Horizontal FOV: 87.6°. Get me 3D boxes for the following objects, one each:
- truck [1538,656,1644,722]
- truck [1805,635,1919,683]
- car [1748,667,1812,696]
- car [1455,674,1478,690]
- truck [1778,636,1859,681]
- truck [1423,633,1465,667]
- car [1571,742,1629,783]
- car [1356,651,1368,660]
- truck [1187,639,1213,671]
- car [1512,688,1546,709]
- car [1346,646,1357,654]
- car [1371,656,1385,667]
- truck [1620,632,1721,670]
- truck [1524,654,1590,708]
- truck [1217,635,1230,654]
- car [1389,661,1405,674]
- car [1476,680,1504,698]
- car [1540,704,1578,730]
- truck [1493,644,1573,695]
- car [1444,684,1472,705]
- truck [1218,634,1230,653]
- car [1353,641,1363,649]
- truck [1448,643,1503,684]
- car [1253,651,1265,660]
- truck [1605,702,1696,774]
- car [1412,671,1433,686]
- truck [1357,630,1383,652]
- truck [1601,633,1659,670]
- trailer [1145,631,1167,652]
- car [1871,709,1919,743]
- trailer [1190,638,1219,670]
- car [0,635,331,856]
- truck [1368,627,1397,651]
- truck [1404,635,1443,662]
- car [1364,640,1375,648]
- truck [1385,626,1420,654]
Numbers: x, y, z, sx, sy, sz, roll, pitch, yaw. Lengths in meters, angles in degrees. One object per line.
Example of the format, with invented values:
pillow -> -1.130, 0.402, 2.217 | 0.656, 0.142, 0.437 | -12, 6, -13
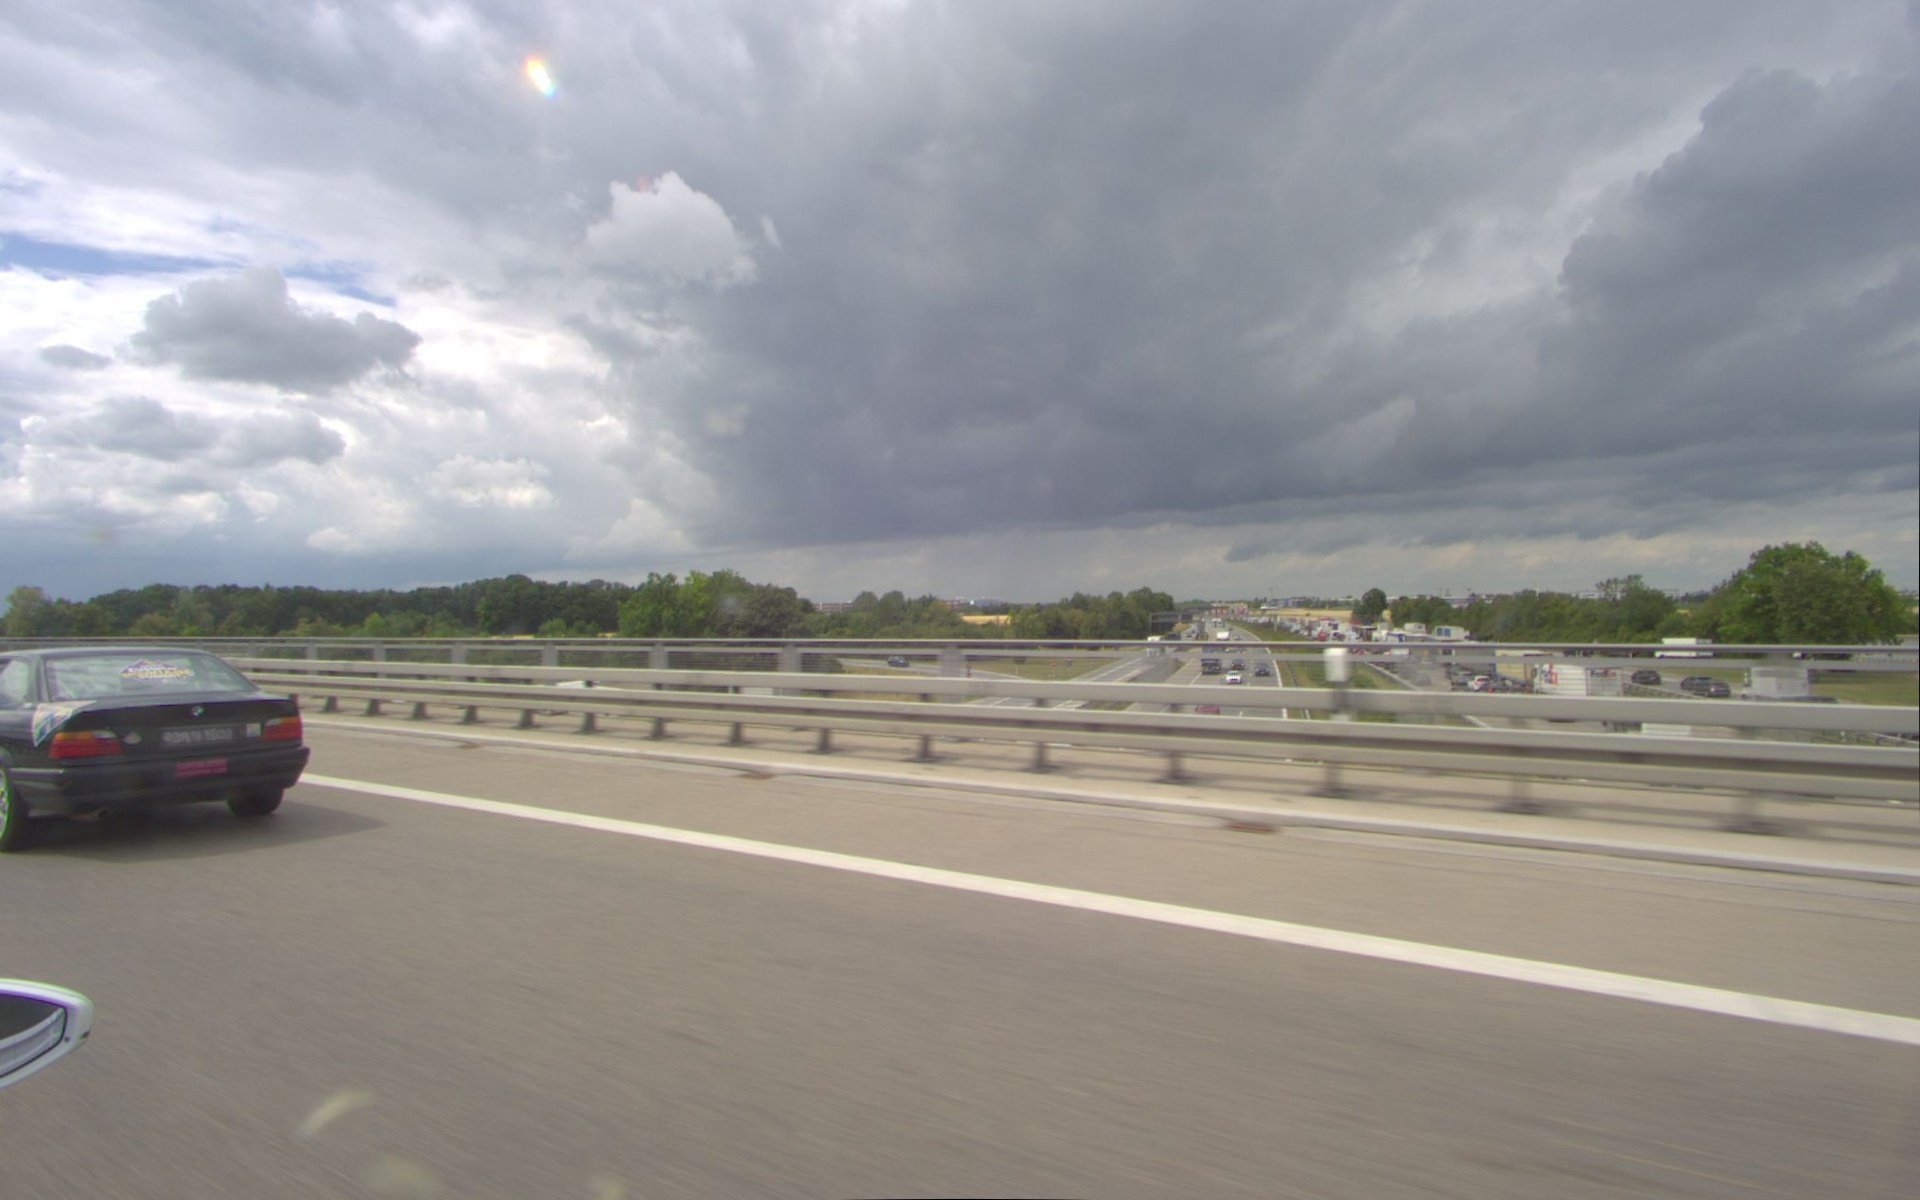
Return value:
truck -> 51.903, 7.159, 82.970 | 3.936, 4.612, 13.775 | 0, -1, 17
truck -> 107.673, 6.783, 115.890 | 3.803, 5.281, 14.795 | 1, -1, -27
car -> 65.554, 6.499, 80.118 | 2.143, 2.039, 4.669 | 0, -1, 14
car -> 56.741, 9.166, 112.196 | 1.707, 1.505, 3.994 | 0, -1, 19
truck -> 104.580, 7.064, 122.115 | 3.797, 5.381, 6.424 | 1, -2, -23
truck -> 71.989, 7.314, 149.209 | 3.938, 4.612, 15.281 | 0, -1, 19
car -> 34.365, 8.682, 53.867 | 1.643, 1.576, 3.994 | 0, -1, 18
car -> 73.475, 10.083, 182.849 | 1.707, 1.505, 3.995 | 0, -1, 17
truck -> 33.775, 7.682, 140.753 | 3.076, 4.342, 5.605 | 0, -1, 18
car -> 48.198, 8.338, 84.866 | 1.707, 1.505, 3.994 | 0, -1, 19
car -> 78.949, 10.052, 201.809 | 1.707, 1.505, 3.995 | 0, -1, 17
car -> 64.528, 9.523, 154.561 | 1.707, 1.505, 3.994 | 0, -1, 18
truck -> 100.742, 7.121, 142.380 | 3.876, 5.105, 12.999 | 1, -1, -7
truck -> 54.782, 7.387, 92.109 | 3.862, 4.569, 6.285 | 0, -1, 18
truck -> 55.604, 9.370, 211.119 | 2.451, 3.728, 5.160 | 0, 0, 16
car -> 60.257, 9.284, 138.088 | 1.643, 1.576, 3.994 | 0, -1, 18
car -> 52.147, 8.751, 98.577 | 1.707, 1.505, 3.994 | 0, -1, 18
car -> 46.360, 9.053, 77.540 | 1.643, 1.576, 3.994 | 0, -1, 18
truck -> 59.605, 7.065, 104.804 | 3.936, 4.612, 16.345 | 0, -2, 18
car -> 45.490, 8.591, 91.563 | 1.643, 1.576, 3.994 | 0, -1, 18
truck -> 57.441, 9.454, 217.800 | 2.451, 3.727, 13.124 | 0, 0, 15
car -> 88.063, 9.921, 221.466 | 1.707, 1.505, 3.995 | 0, -1, 17
truck -> 65.162, 7.917, 126.962 | 3.937, 4.612, 14.864 | 0, -1, 19
car -> 53.967, 9.986, 180.474 | 1.965, 1.639, 3.994 | 0, -1, 19
truck -> 39.311, 7.729, 57.266 | 2.192, 3.238, 7.557 | 0, -1, 18
car -> 53.728, 9.110, 116.401 | 1.707, 1.505, 3.994 | 0, -1, 18
truck -> 97.647, 9.650, 238.608 | 4.012, 4.883, 15.339 | 0, -1, 16
truck -> 99.816, 7.566, 149.303 | 3.785, 5.381, 6.443 | 0, -2, -8
trailer -> 40.567, 8.477, 206.530 | 2.936, 4.152, 14.230 | 0, -1, 17
car -> 58.523, 7.756, 61.551 | 1.963, 1.631, 4.462 | 0, -1, 16
trailer -> 36.174, 7.887, 147.962 | 3.076, 4.341, 13.933 | 0, -1, 18
car -> -7.000, 0.955, 8.045 | 4.305, 1.297, 1.700 | 0, -2, 34
truck -> 91.150, 8.293, 216.138 | 4.012, 4.883, 15.339 | 0, -1, 16
truck -> 77.815, 8.052, 168.525 | 4.069, 4.083, 14.875 | 0, -2, 18
car -> 82.905, 8.960, 202.771 | 1.707, 1.505, 3.995 | 0, -1, 17
truck -> 83.274, 7.470, 188.850 | 4.011, 4.883, 14.475 | 0, -1, 16
